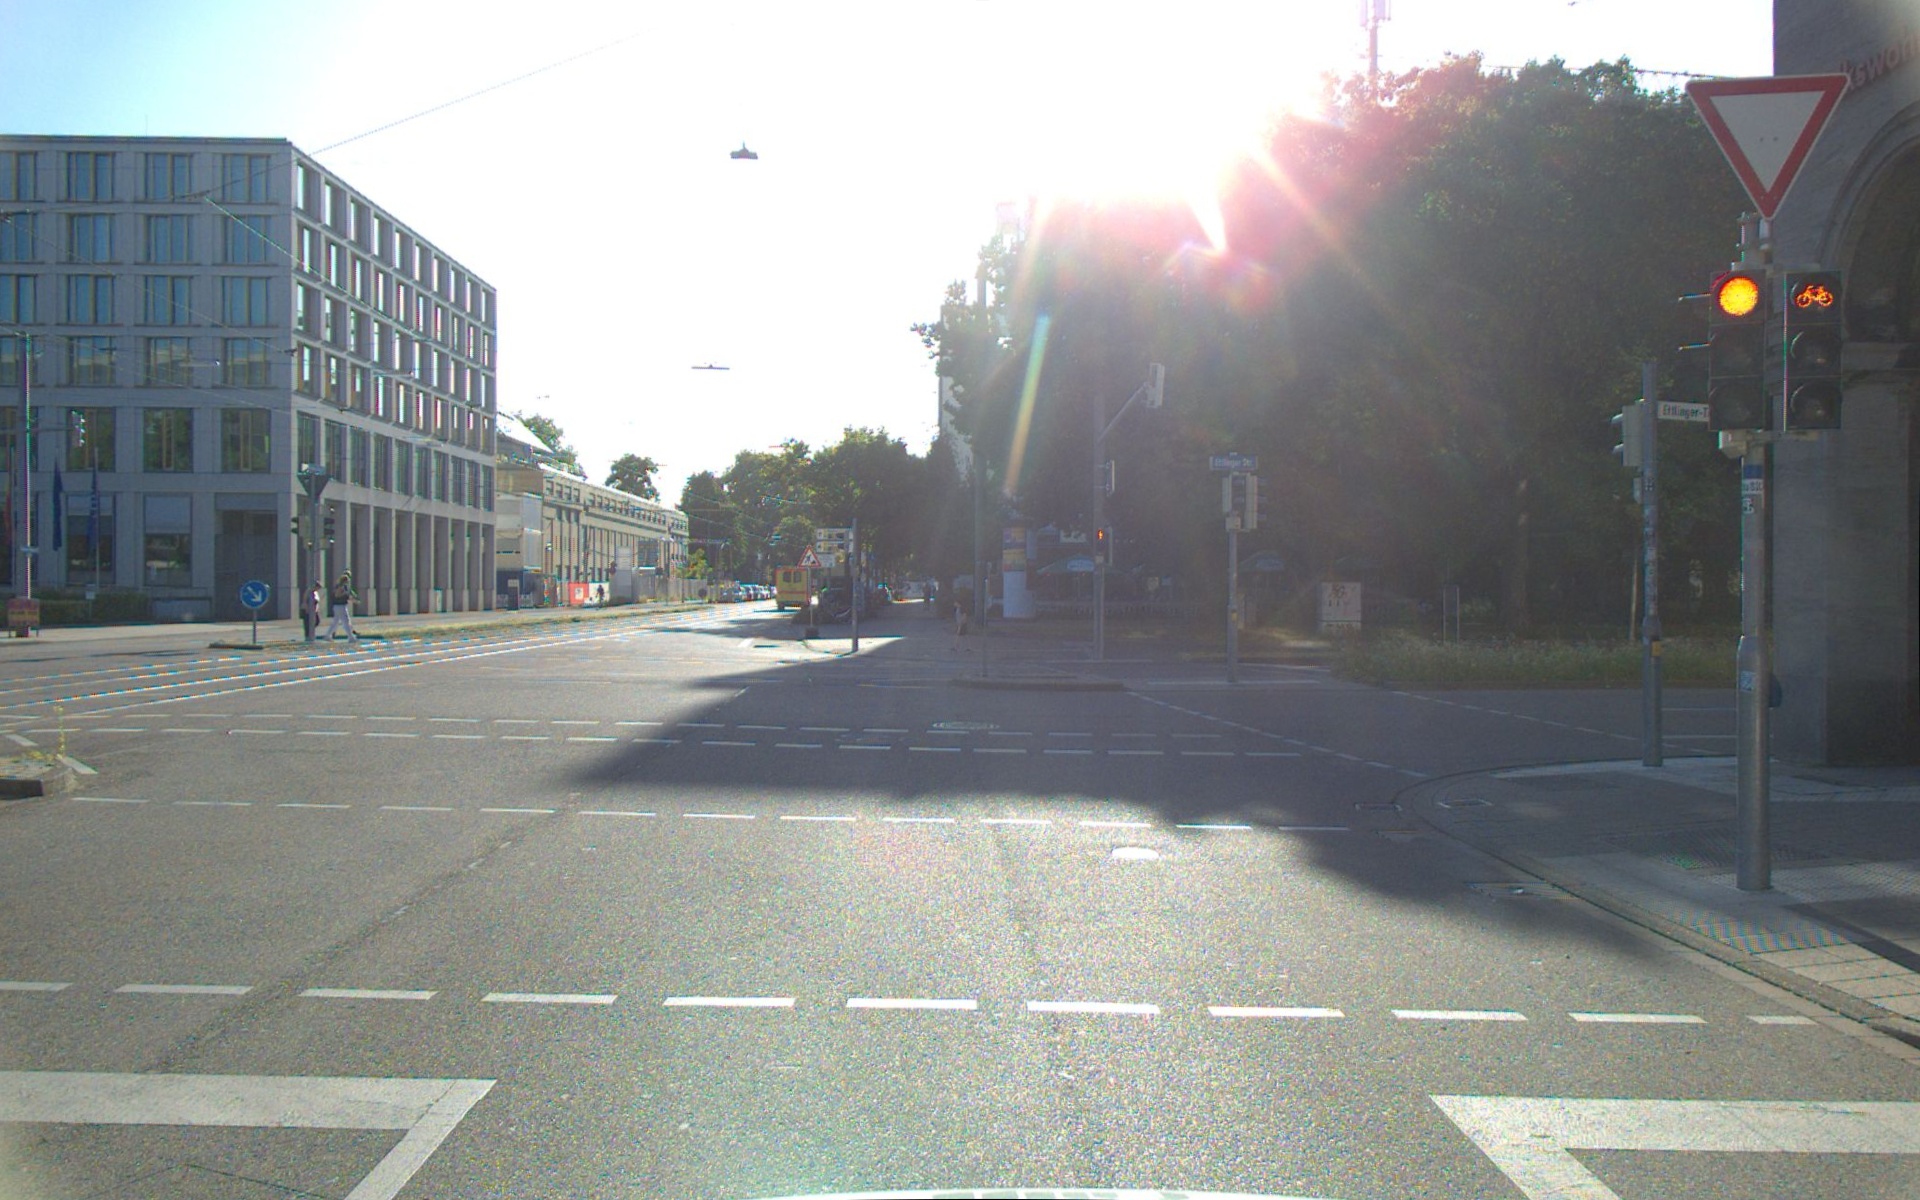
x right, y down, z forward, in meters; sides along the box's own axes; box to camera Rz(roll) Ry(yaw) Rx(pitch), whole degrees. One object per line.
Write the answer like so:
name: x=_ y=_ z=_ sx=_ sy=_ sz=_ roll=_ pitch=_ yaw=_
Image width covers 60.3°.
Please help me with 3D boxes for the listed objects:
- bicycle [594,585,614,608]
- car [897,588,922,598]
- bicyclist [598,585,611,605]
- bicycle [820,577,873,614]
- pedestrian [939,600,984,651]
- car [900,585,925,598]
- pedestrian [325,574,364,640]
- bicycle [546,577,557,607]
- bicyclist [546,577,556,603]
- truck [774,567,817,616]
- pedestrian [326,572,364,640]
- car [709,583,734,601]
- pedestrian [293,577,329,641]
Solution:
bicycle: x=-24.965 y=-0.243 z=115.923 sx=0.675 sy=1.538 sz=2.945 roll=1 pitch=0 yaw=1
car: x=-6.465 y=-0.903 z=211.083 sx=3.153 sy=1.285 sz=1.372 roll=1 pitch=0 yaw=-2
bicyclist: x=-24.918 y=-0.333 z=115.994 sx=0.675 sy=1.351 sz=1.000 roll=1 pitch=0 yaw=1
bicycle: x=-5.582 y=-0.211 z=81.273 sx=2.495 sy=1.774 sz=1.037 roll=1 pitch=0 yaw=-1
pedestrian: x=0.046 y=0.663 z=43.599 sx=0.979 sy=1.340 sz=0.762 roll=0 pitch=0 yaw=-22
car: x=-6.116 y=-1.109 z=213.380 sx=3.152 sy=1.616 sz=1.445 roll=1 pitch=0 yaw=-5
pedestrian: x=-15.728 y=0.170 z=42.270 sx=0.777 sy=1.673 sz=0.620 roll=0 pitch=0 yaw=-5
bicycle: x=-32.090 y=-0.665 z=129.792 sx=0.559 sy=2.336 sz=1.422 roll=0 pitch=0 yaw=-2
bicyclist: x=-32.090 y=-0.806 z=129.771 sx=0.559 sy=2.059 sz=0.761 roll=0 pitch=0 yaw=-2
truck: x=-10.701 y=-0.557 z=108.077 sx=2.663 sy=3.068 sz=6.484 roll=0 pitch=0 yaw=-4
pedestrian: x=-16.585 y=0.166 z=44.599 sx=0.732 sy=1.792 sz=0.678 roll=-1 pitch=-1 yaw=4
car: x=-22.508 y=-0.733 z=156.196 sx=1.856 sy=1.635 sz=4.498 roll=0 pitch=0 yaw=-3
pedestrian: x=-17.157 y=0.239 z=43.728 sx=0.680 sy=1.673 sz=0.621 roll=0 pitch=0 yaw=0
